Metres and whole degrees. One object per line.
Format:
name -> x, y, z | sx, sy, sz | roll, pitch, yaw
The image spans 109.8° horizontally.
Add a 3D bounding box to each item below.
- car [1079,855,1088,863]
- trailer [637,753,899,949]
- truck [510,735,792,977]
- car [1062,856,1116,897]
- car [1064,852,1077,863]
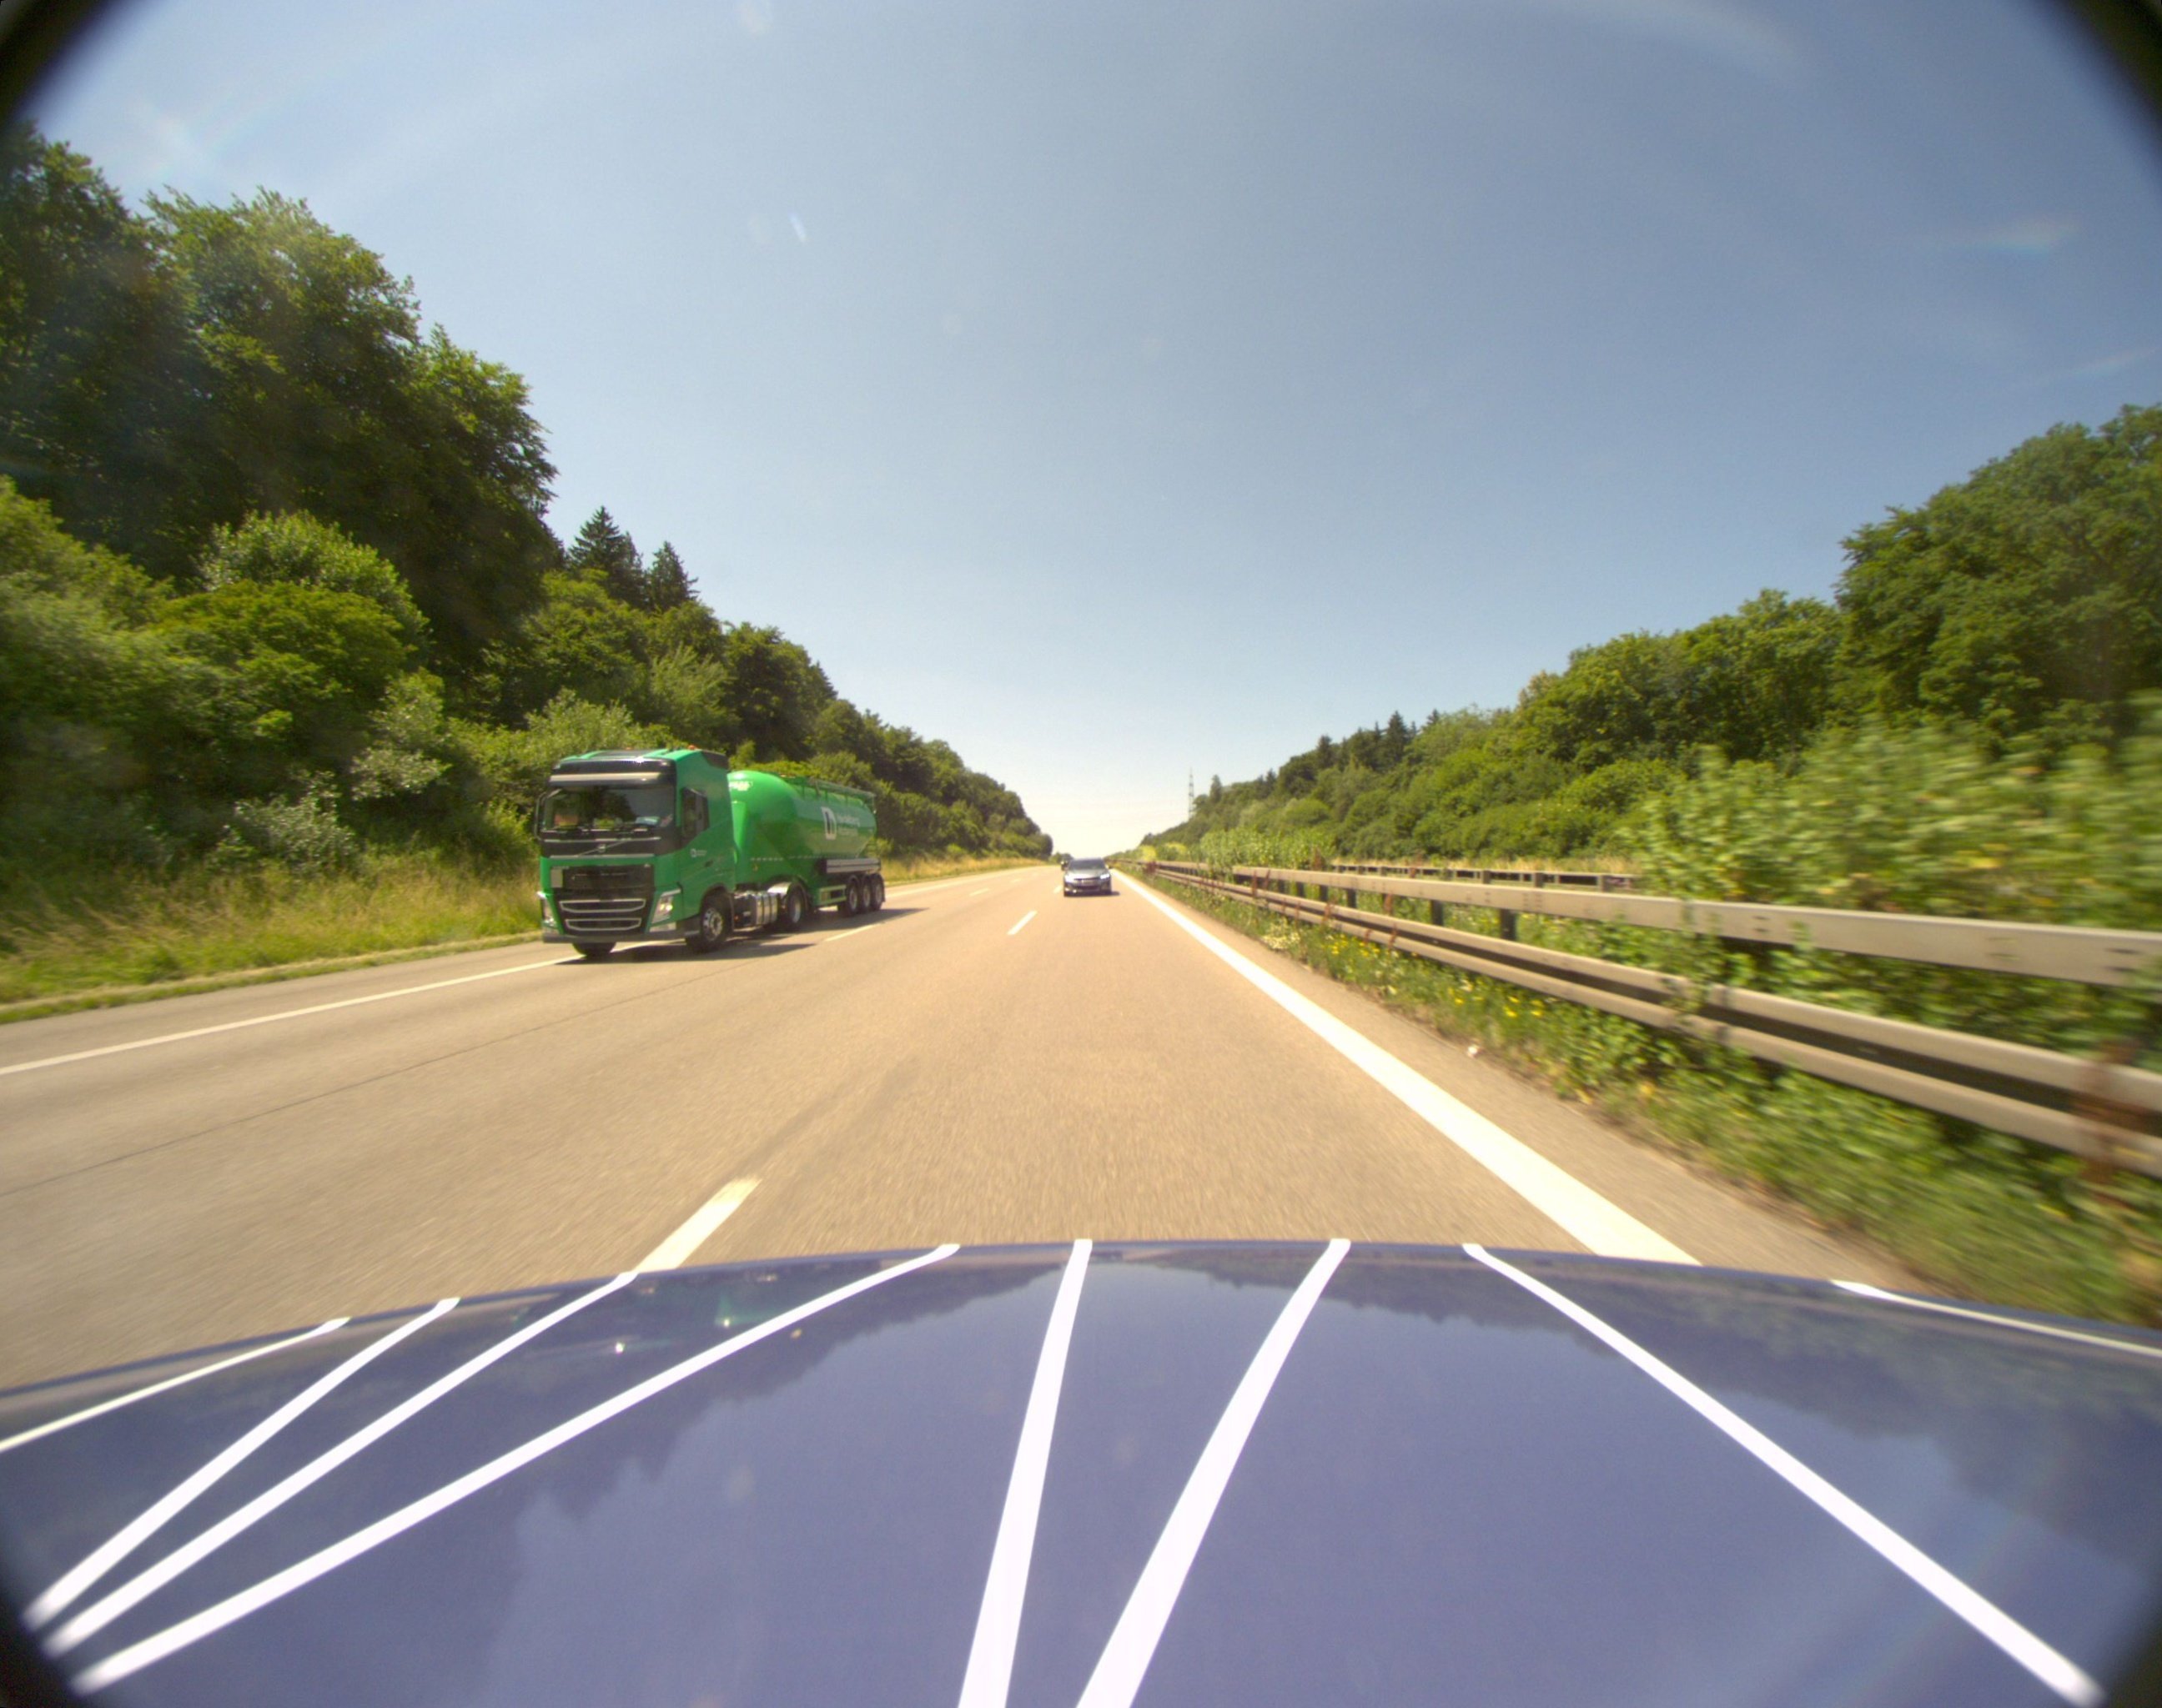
car -> 0.697, 1.270, 192.518 | 1.999, 2.002, 3.999 | -3, 0, -2
trailer -> -7.798, -0.035, 21.126 | 2.594, 4.004, 10.471 | -2, 0, 1
truck -> -7.887, 0.045, 14.743 | 2.516, 3.819, 4.892 | -3, 0, 0
car -> 0.386, 0.829, 29.672 | 1.767, 1.400, 4.001 | -3, 0, 4
car -> -1.475, 0.491, 106.586 | 1.788, 1.550, 3.943 | -3, 0, -1
